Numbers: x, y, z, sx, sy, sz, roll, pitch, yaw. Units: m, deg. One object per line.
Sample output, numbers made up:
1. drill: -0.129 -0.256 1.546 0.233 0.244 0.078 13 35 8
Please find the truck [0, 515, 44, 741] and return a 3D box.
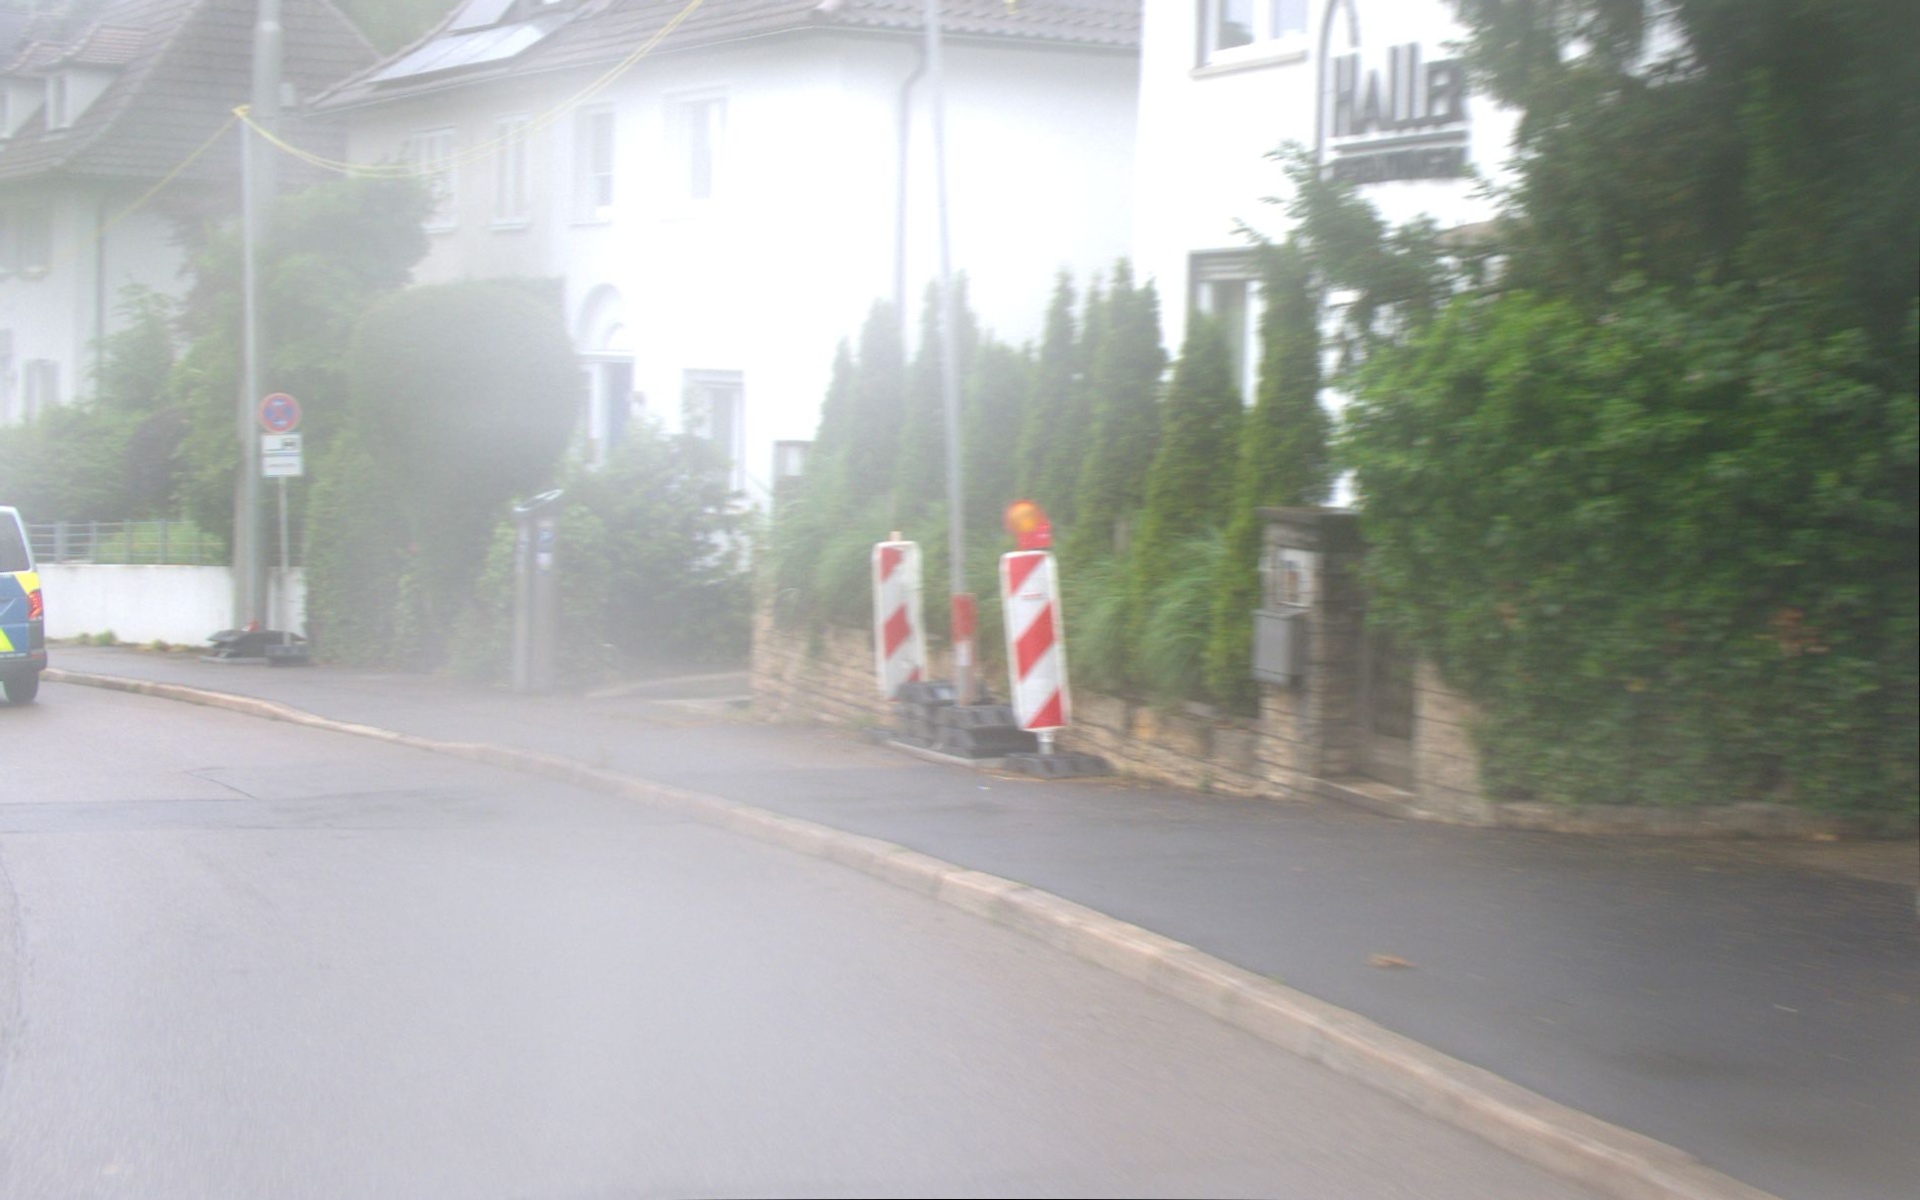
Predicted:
1. truck: -10.494 0.178 33.996 1.993 2.006 4.736 -1 4 -24
